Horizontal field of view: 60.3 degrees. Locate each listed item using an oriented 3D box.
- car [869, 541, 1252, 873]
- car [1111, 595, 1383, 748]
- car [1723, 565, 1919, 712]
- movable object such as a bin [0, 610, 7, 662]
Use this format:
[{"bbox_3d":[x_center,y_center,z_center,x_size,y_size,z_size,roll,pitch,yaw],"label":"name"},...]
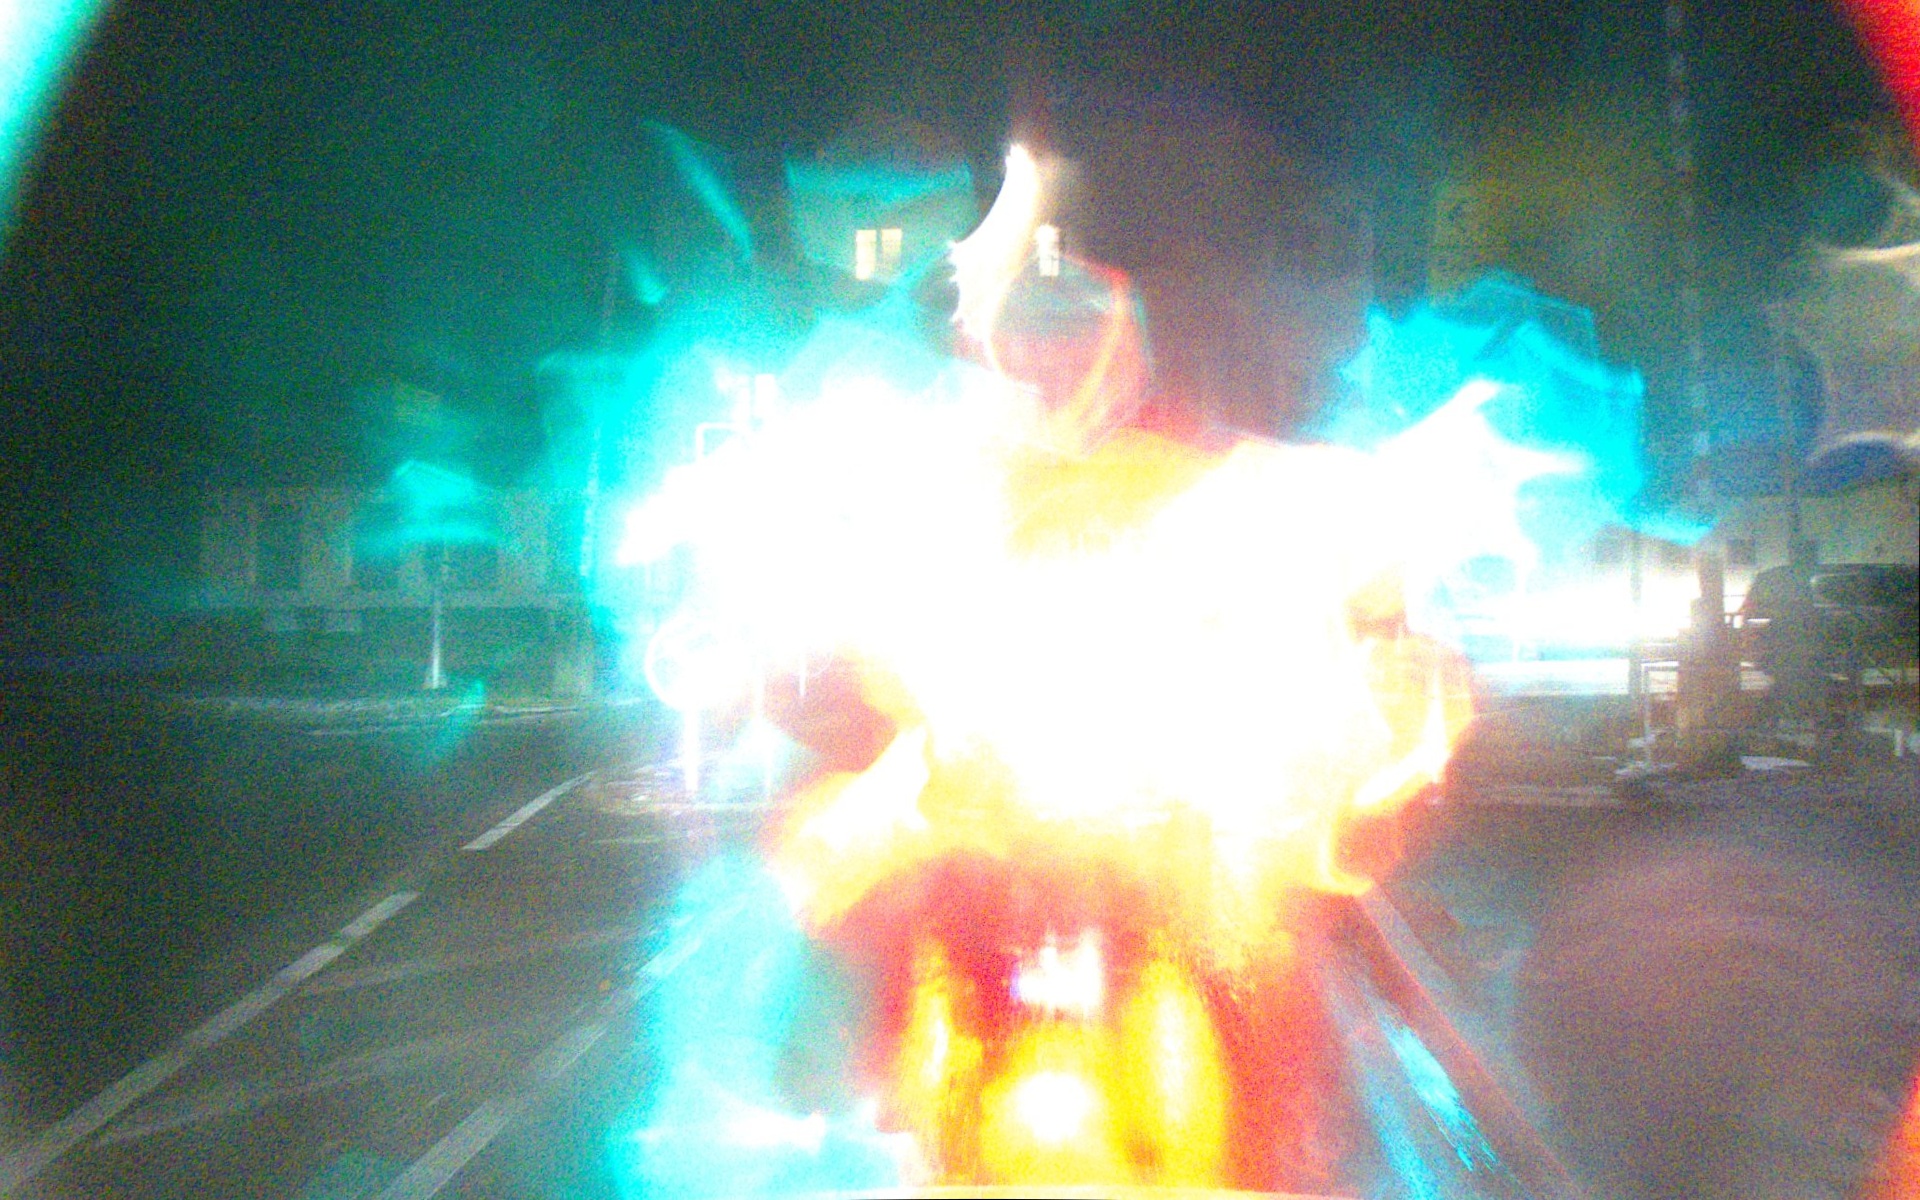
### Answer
[{"bbox_3d":[0.675,0.592,11.071,2.014,1.707,4.141,3,0,4],"label":"car"},{"bbox_3d":[3.538,0.760,19.730,1.874,1.537,4.234,-1,1,29],"label":"car"},{"bbox_3d":[13.320,0.525,23.473,4.151,1.981,1.778,1,1,4],"label":"car"},{"bbox_3d":[-26.070,0.928,43.706,1.296,1.322,1.242,3,-5,-23],"label":"movable object such as a bin"}]
